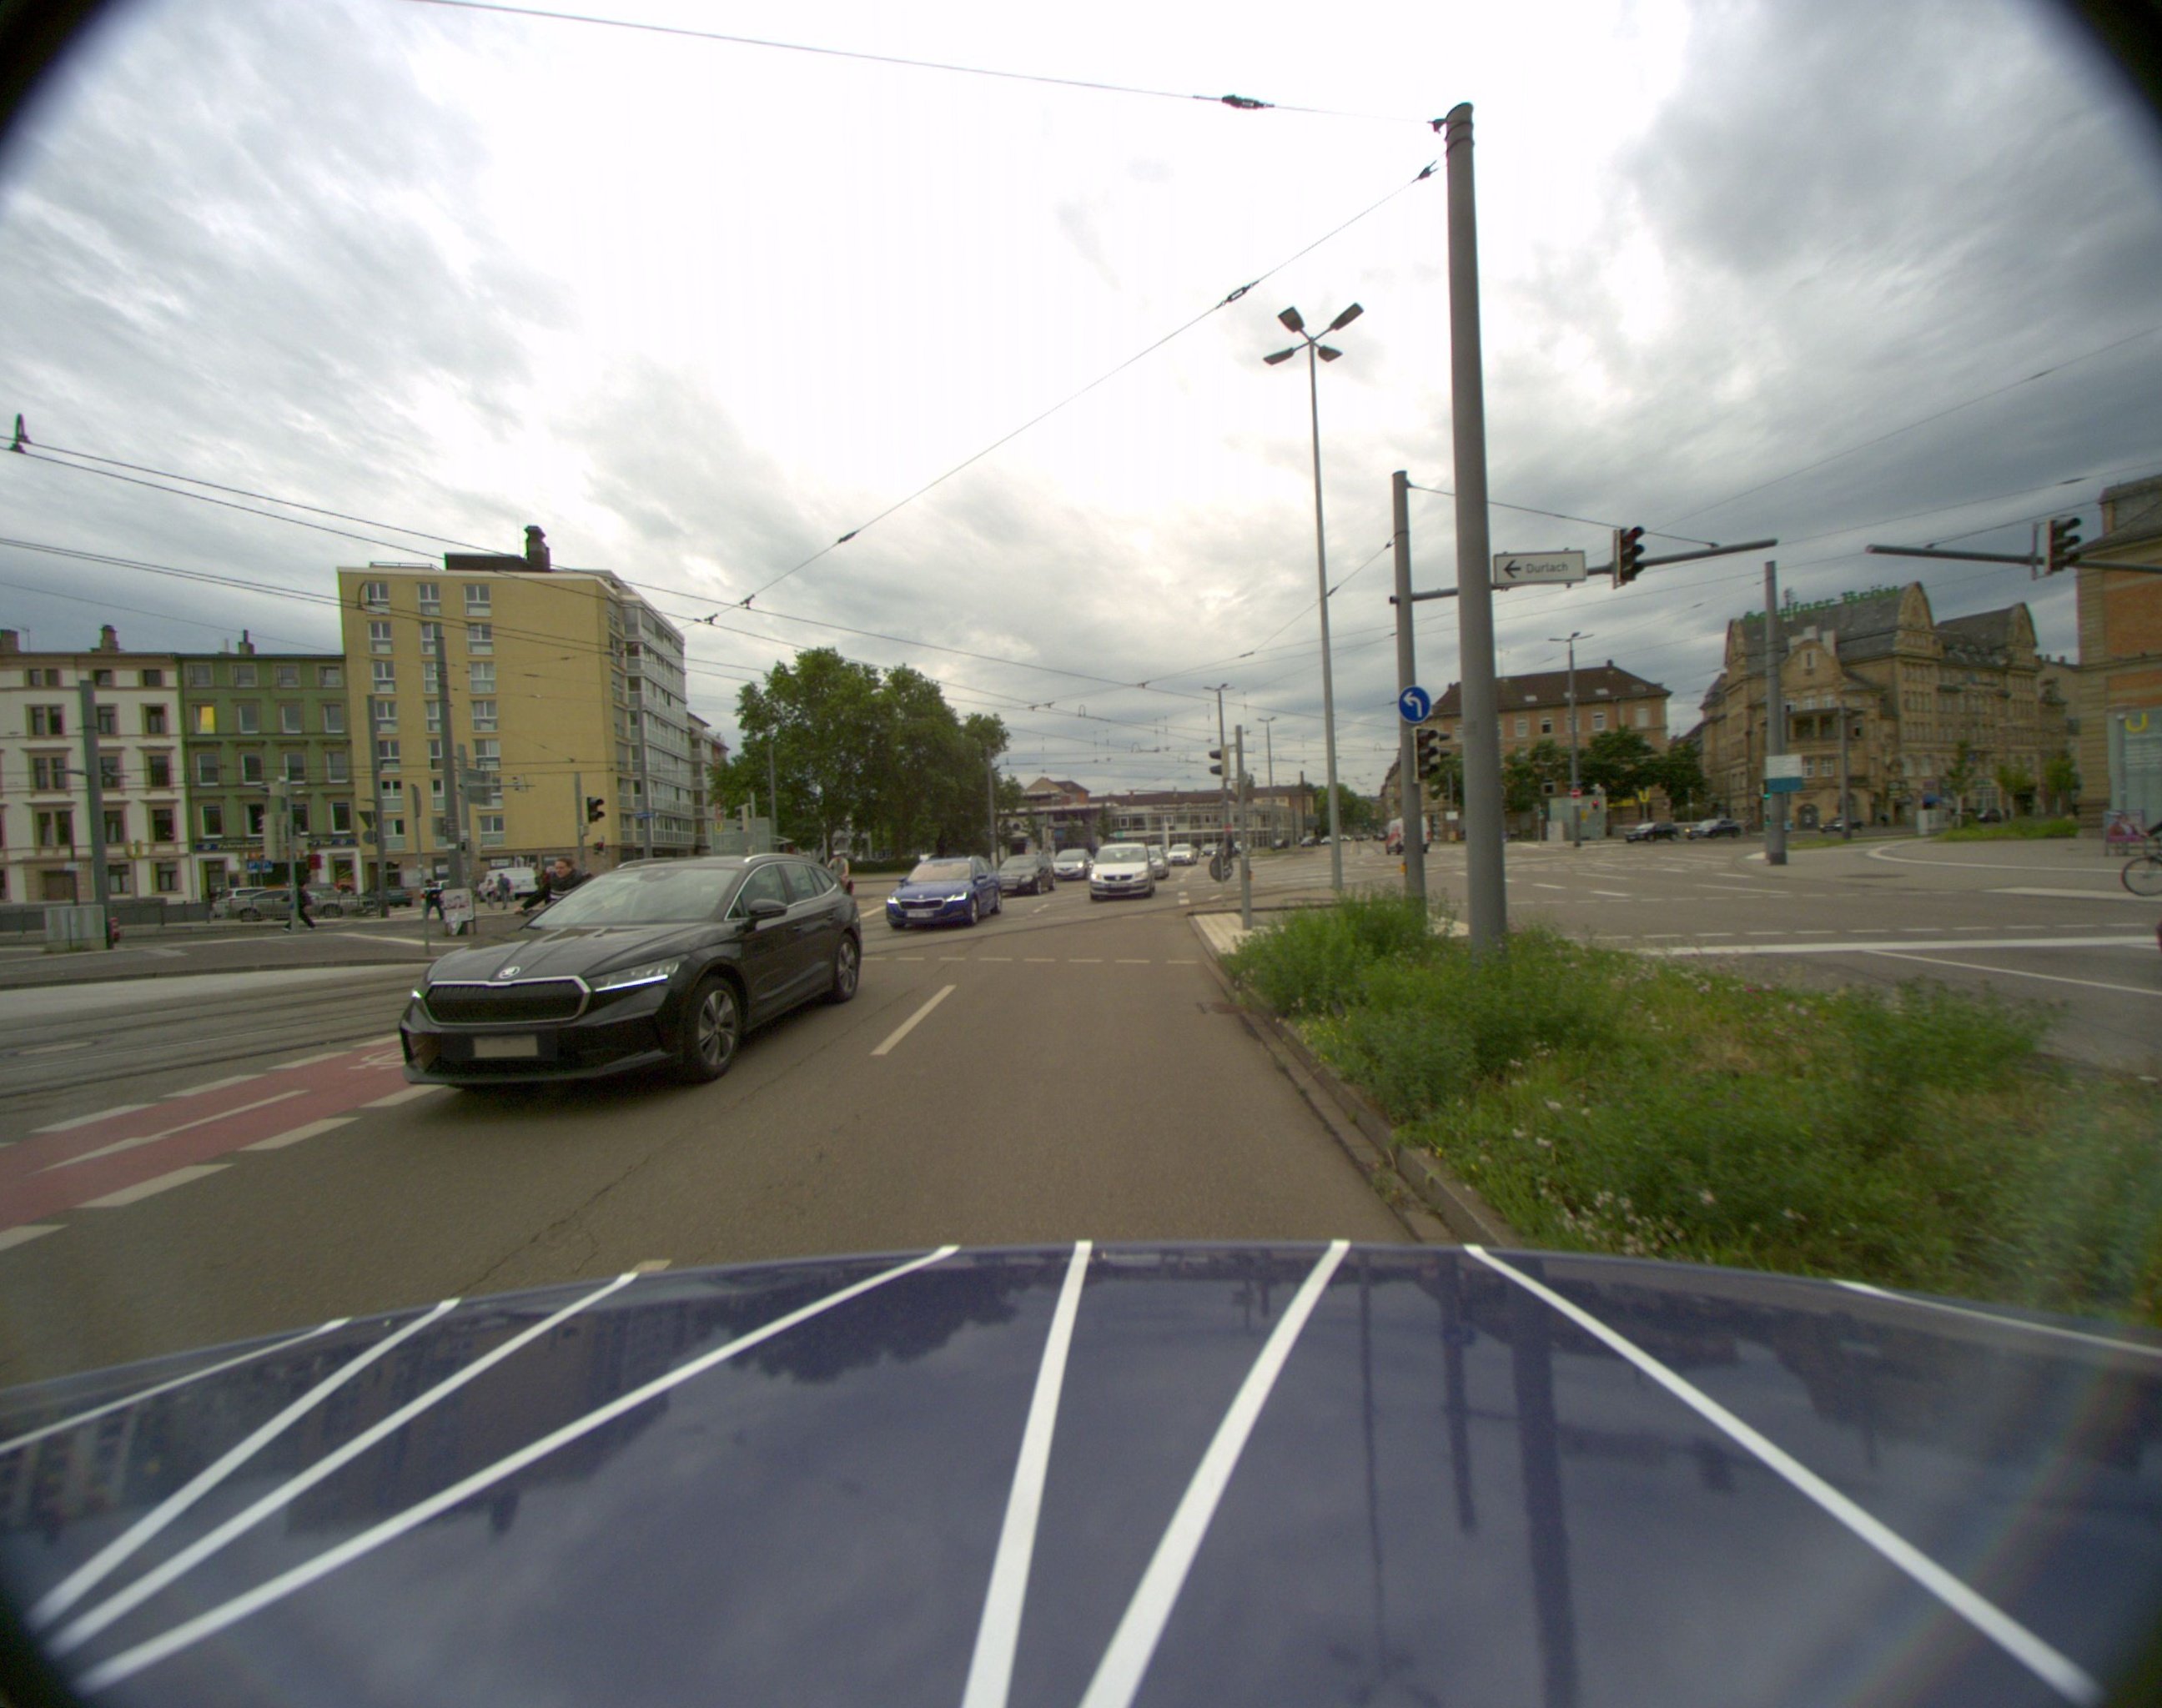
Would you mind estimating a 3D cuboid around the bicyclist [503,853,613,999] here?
[{"bbox_3d":[-6.381,0.851,9.304,0.616,1.681,0.806,-3,1,11],"label":"bicyclist"}]

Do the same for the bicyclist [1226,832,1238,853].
[{"bbox_3d":[11.945,-0.918,60.153,0.655,1.630,0.517,-3,2,-18],"label":"bicyclist"}]

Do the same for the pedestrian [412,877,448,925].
[{"bbox_3d":[-23.845,1.700,27.853,0.785,1.634,0.902,-5,2,-34],"label":"pedestrian"}]

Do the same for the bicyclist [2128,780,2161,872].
[{"bbox_3d":[19.891,-0.525,13.690,0.814,1.647,0.794,-5,1,11],"label":"bicyclist"}]

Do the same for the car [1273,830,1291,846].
[{"bbox_3d":[28.811,-2.318,108.866,1.996,2.002,4.005,-3,2,22],"label":"car"}]

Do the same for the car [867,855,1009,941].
[{"bbox_3d":[-2.971,0.853,16.950,1.769,1.428,4.758,-3,1,6],"label":"car"}]

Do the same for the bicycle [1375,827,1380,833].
[{"bbox_3d":[68.458,-5.508,175.275,0.798,1.285,2.413,-3,1,18],"label":"bicycle"}]

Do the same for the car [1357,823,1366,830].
[{"bbox_3d":[62.695,-6.206,169.892,1.885,1.462,4.469,-3,1,19],"label":"car"}]

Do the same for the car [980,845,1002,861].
[{"bbox_3d":[-12.752,-0.160,108.345,1.954,1.450,4.226,-3,8,9],"label":"car"}]

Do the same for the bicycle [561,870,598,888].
[{"bbox_3d":[-35.842,1.800,54.335,2.041,1.162,0.669,-3,1,-14],"label":"bicycle"}]

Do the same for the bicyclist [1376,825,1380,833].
[{"bbox_3d":[68.341,-5.783,175.011,0.823,1.856,0.925,-2,2,19],"label":"bicyclist"}]

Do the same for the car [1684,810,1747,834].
[{"bbox_3d":[52.834,-2.635,63.237,4.930,1.705,2.158,-3,1,-25],"label":"car"}]

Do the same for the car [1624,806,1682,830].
[{"bbox_3d":[46.311,-2.924,61.534,4.249,1.602,1.996,-4,2,-25],"label":"car"}]

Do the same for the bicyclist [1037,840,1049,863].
[{"bbox_3d":[-2.867,-0.194,57.869,0.734,1.741,0.585,-5,1,-8],"label":"bicyclist"}]

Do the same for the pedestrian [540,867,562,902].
[{"bbox_3d":[-28.267,1.608,40.541,0.789,1.747,1.046,-4,2,-33],"label":"pedestrian"}]

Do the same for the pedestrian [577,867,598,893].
[{"bbox_3d":[-34.456,1.794,53.079,0.907,1.727,0.812,-3,1,-11],"label":"pedestrian"}]

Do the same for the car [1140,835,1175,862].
[{"bbox_3d":[6.361,-0.487,62.764,1.996,2.002,4.004,-3,1,19],"label":"car"}]

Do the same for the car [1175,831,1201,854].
[{"bbox_3d":[10.091,-1.104,71.251,1.997,2.002,4.002,-3,1,12],"label":"car"}]

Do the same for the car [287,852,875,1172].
[{"bbox_3d":[-3.444,0.901,6.569,1.908,1.649,4.514,-3,1,1],"label":"car"}]

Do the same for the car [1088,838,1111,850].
[{"bbox_3d":[2.545,-1.402,105.895,1.958,1.517,4.222,-4,3,-16],"label":"car"}]

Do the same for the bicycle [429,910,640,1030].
[{"bbox_3d":[-6.441,1.318,9.143,0.626,1.049,2.127,-3,1,12],"label":"bicycle"}]

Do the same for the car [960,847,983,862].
[{"bbox_3d":[-15.591,0.039,108.468,1.954,1.590,4.227,-3,7,9],"label":"car"}]

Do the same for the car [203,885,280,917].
[{"bbox_3d":[-46.563,2.619,42.149,3.729,1.578,1.739,-2,1,25],"label":"car"}]

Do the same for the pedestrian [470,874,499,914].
[{"bbox_3d":[-25.369,1.702,32.330,0.770,1.603,0.949,-5,2,-34],"label":"pedestrian"}]

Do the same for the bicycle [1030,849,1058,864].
[{"bbox_3d":[-2.815,0.192,57.900,1.992,0.992,0.579,-4,1,-7],"label":"bicycle"}]

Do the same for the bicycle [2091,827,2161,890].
[{"bbox_3d":[19.988,0.025,13.706,2.117,1.022,0.795,-5,1,11],"label":"bicycle"}]

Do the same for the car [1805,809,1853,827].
[{"bbox_3d":[68.483,-3.300,69.554,4.006,1.457,1.829,-4,2,-25],"label":"car"}]

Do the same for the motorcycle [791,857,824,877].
[{"bbox_3d":[-20.565,0.934,57.132,2.294,1.358,1.045,-3,2,-20],"label":"motorcycle"}]

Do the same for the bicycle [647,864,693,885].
[{"bbox_3d":[-30.268,1.486,55.960,2.784,1.369,0.903,-3,2,-9],"label":"bicycle"}]

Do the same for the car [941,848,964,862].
[{"bbox_3d":[-18.414,0.080,108.968,1.954,1.459,4.227,-3,6,9],"label":"car"}]

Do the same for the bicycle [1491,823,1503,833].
[{"bbox_3d":[44.471,-2.785,81.237,0.753,1.024,2.399,-2,1,21],"label":"bicycle"}]

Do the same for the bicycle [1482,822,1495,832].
[{"bbox_3d":[43.729,-2.872,81.572,0.835,1.025,2.399,-3,1,21],"label":"bicycle"}]

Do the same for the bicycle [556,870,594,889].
[{"bbox_3d":[-35.712,1.803,53.651,2.041,1.162,0.669,-3,1,-14],"label":"bicycle"}]

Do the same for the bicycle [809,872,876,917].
[{"bbox_3d":[-6.838,1.138,21.906,0.762,1.073,2.018,-4,1,17],"label":"bicycle"}]

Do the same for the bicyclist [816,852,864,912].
[{"bbox_3d":[-6.910,0.796,21.848,0.790,1.609,0.934,-4,1,16],"label":"bicyclist"}]

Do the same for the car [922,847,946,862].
[{"bbox_3d":[-21.141,0.023,109.227,1.954,1.506,4.227,-3,7,9],"label":"car"}]

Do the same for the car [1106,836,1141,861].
[{"bbox_3d":[2.915,-0.377,51.477,1.997,1.499,4.001,-3,2,8],"label":"car"}]

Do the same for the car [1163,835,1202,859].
[{"bbox_3d":[7.061,-0.510,52.495,1.970,1.447,4.197,-3,1,16],"label":"car"}]

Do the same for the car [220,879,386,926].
[{"bbox_3d":[-32.389,1.980,31.778,4.445,1.478,1.998,-4,2,-9],"label":"car"}]

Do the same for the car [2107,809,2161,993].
[{"bbox_3d":[9.619,0.396,4.731,1.622,1.507,3.665,-2,1,4],"label":"car"}]

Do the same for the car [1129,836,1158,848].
[{"bbox_3d":[8.871,-1.728,107.743,3.901,1.433,1.734,-3,1,11],"label":"car"}]

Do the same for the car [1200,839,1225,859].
[{"bbox_3d":[14.360,-0.581,82.904,1.996,2.002,4.004,-3,1,19],"label":"car"}]

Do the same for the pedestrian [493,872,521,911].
[{"bbox_3d":[-24.635,1.588,32.629,0.785,1.593,0.894,-5,2,-34],"label":"pedestrian"}]

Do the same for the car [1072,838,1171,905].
[{"bbox_3d":[1.338,0.420,22.480,1.861,1.609,5.066,-4,1,14],"label":"car"}]

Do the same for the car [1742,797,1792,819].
[{"bbox_3d":[61.494,-4.093,68.091,4.006,1.750,1.829,-4,2,-23],"label":"car"}]

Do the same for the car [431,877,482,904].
[{"bbox_3d":[-37.788,2.201,45.947,3.728,1.409,1.739,-2,3,42],"label":"car"}]

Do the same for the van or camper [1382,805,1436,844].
[{"bbox_3d":[23.107,-2.039,53.835,2.283,2.513,5.576,-2,1,11],"label":"van or camper"}]

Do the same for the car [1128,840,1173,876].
[{"bbox_3d":[3.162,0.152,34.186,1.809,1.398,3.983,-3,2,7],"label":"car"}]

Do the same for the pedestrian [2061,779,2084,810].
[{"bbox_3d":[59.508,-3.576,45.604,0.851,1.822,0.808,-5,2,-34],"label":"pedestrian"}]

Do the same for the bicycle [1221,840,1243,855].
[{"bbox_3d":[11.996,-0.524,60.179,1.615,1.064,0.527,-3,2,-18],"label":"bicycle"}]

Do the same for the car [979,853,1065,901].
[{"bbox_3d":[-1.981,0.757,26.880,1.768,1.362,4.425,-2,1,12],"label":"car"}]

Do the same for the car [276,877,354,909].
[{"bbox_3d":[-43.584,2.206,43.239,3.729,1.573,1.894,-3,2,25],"label":"car"}]

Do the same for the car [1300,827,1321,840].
[{"bbox_3d":[36.184,-3.259,119.688,2.369,1.745,5.136,-3,1,24],"label":"car"}]

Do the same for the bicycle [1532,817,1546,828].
[{"bbox_3d":[47.964,-3.302,79.616,0.753,1.025,2.399,-3,1,21],"label":"bicycle"}]

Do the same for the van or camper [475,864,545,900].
[{"bbox_3d":[-34.882,1.722,46.372,5.451,1.967,2.176,-2,2,41],"label":"van or camper"}]

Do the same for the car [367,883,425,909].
[{"bbox_3d":[-39.835,2.438,44.161,3.728,1.297,1.683,-2,2,36],"label":"car"}]

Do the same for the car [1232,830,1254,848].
[{"bbox_3d":[20.102,-1.857,94.225,1.996,2.002,4.005,-3,2,22],"label":"car"}]

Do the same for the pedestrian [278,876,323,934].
[{"bbox_3d":[-27.024,1.759,26.324,0.785,1.901,0.902,-5,2,-34],"label":"pedestrian"}]

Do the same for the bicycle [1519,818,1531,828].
[{"bbox_3d":[46.842,-3.294,80.172,0.753,1.025,2.399,-3,1,21],"label":"bicycle"}]

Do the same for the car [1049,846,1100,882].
[{"bbox_3d":[-0.247,0.438,37.132,1.708,1.475,3.935,-4,1,10],"label":"car"}]
